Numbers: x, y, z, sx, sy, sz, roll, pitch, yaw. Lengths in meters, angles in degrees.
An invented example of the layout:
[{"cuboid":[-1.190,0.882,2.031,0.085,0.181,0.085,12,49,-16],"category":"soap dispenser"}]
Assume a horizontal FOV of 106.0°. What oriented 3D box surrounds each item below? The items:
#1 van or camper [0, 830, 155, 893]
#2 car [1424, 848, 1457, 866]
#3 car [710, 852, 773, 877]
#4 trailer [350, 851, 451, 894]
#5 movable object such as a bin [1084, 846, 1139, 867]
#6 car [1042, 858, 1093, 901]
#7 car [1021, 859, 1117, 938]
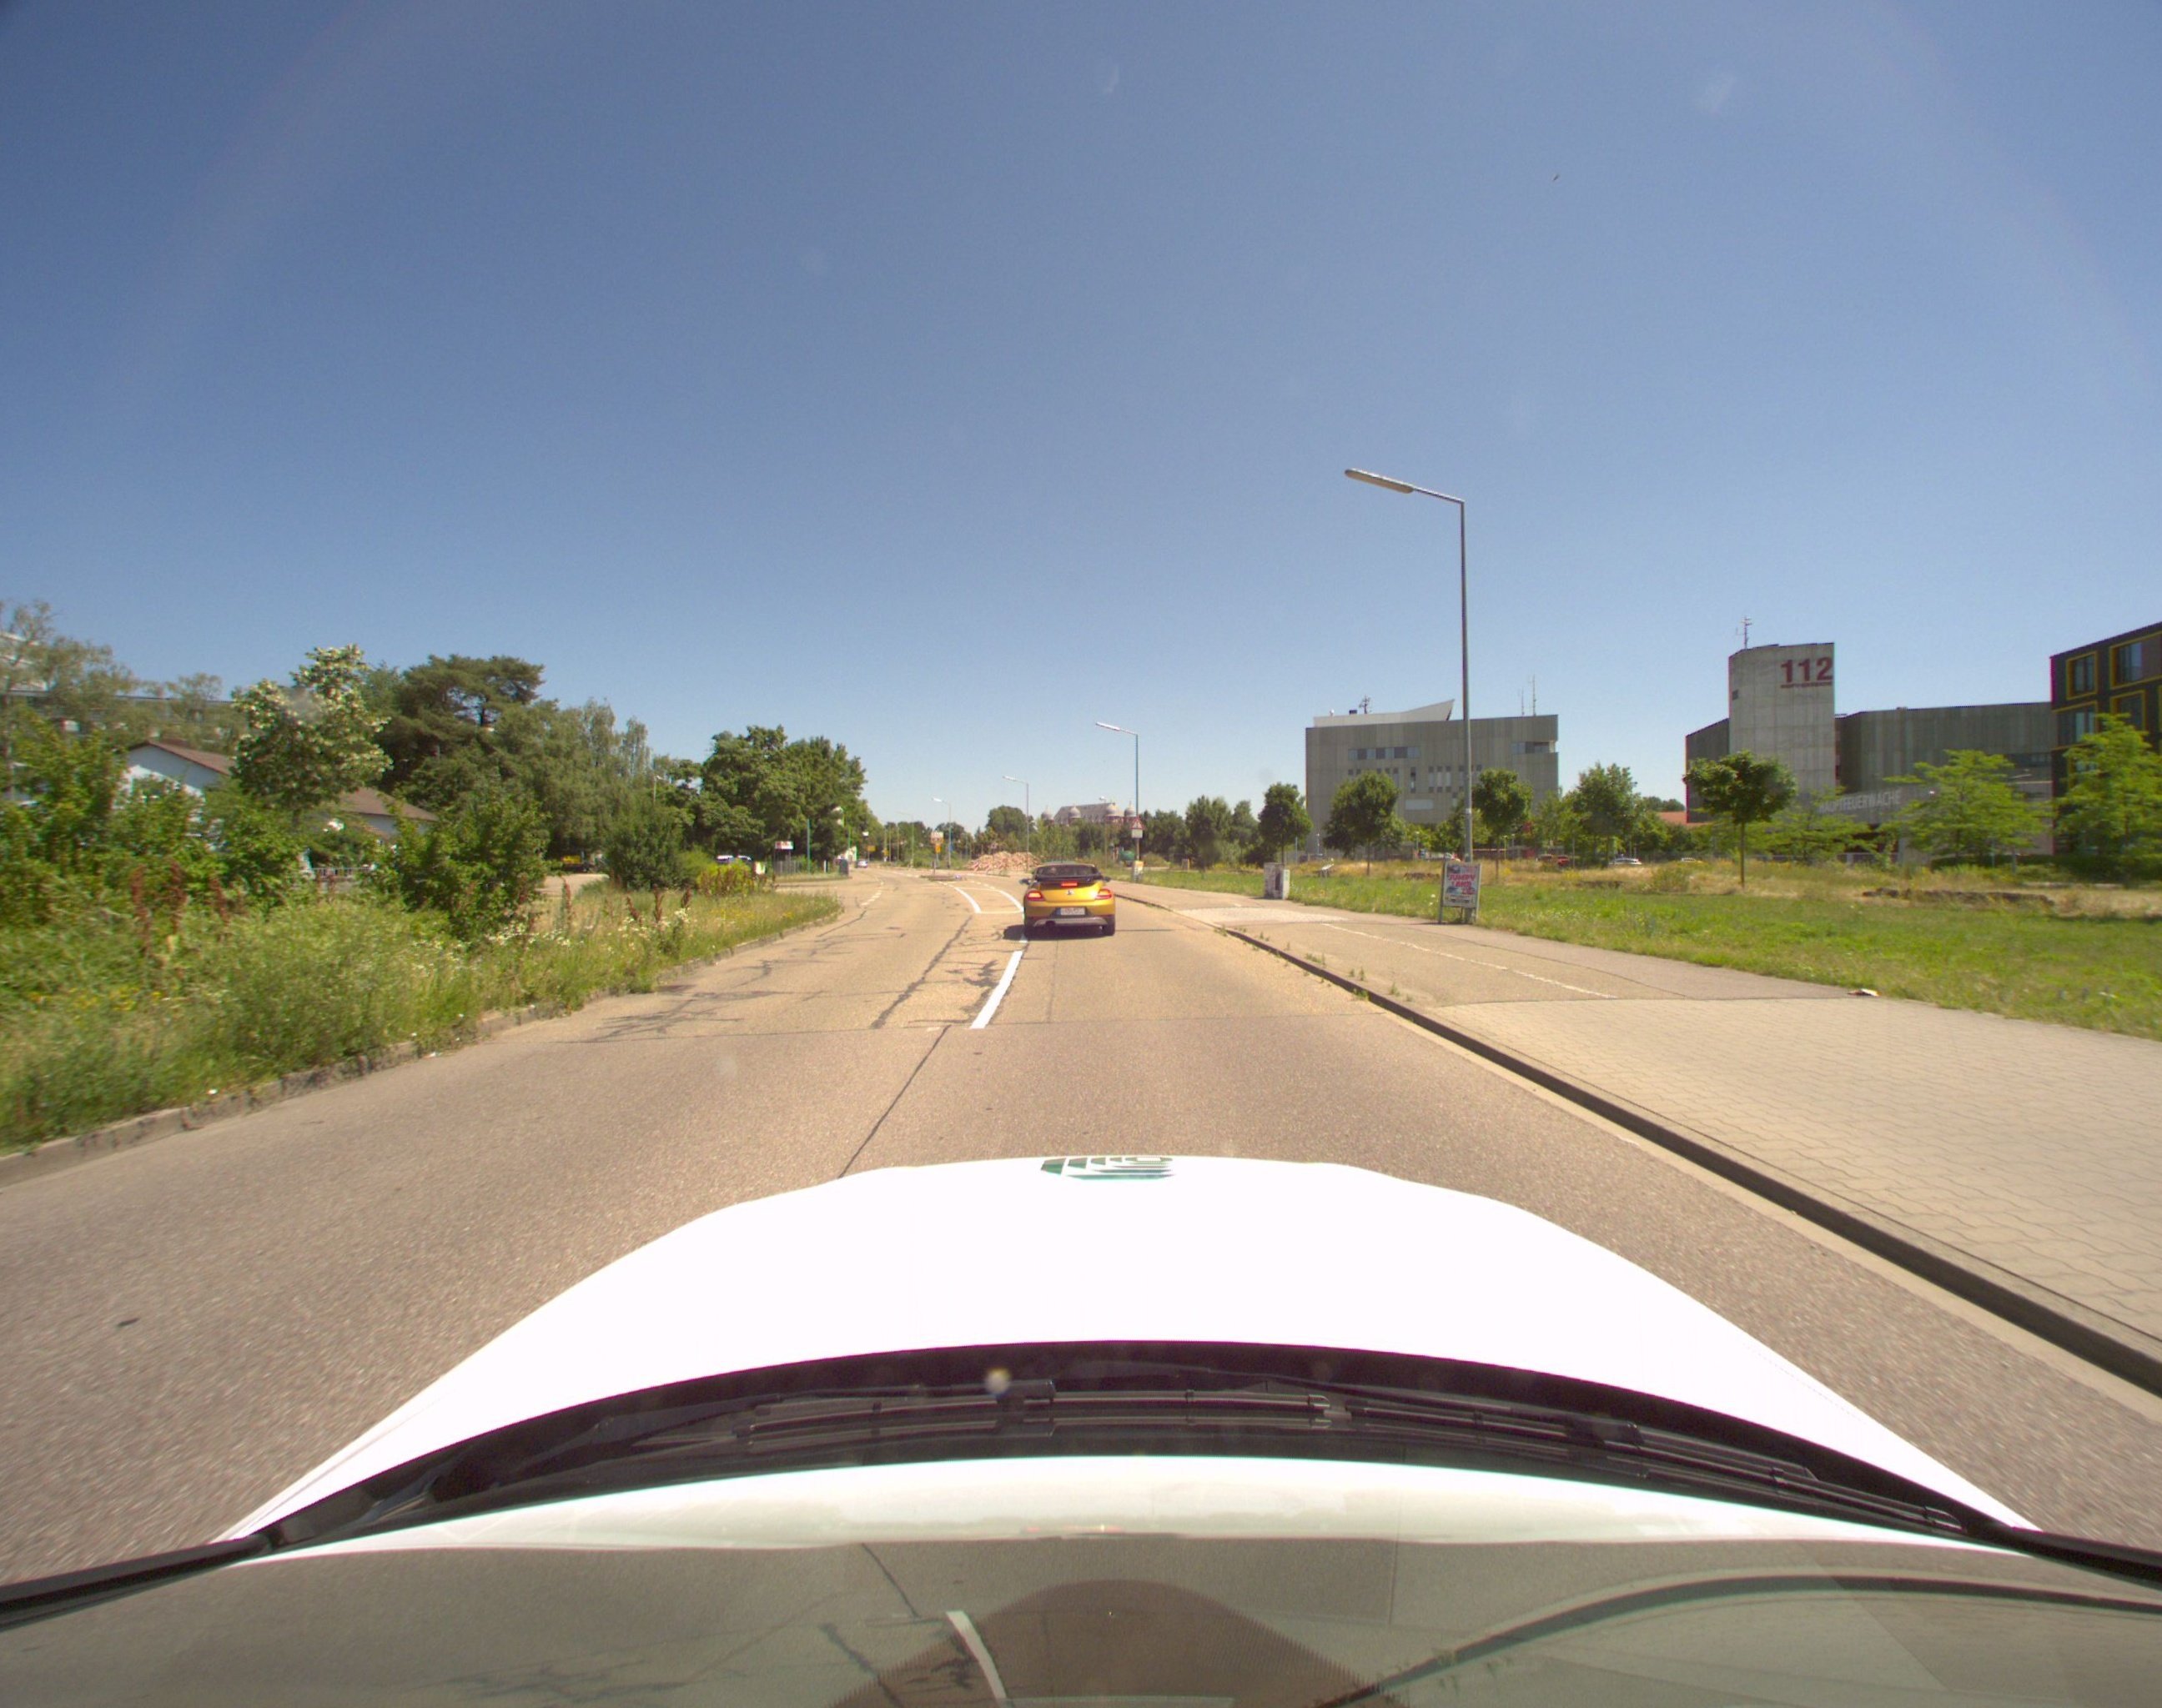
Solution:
[{"cuboid":[-44.638,0.346,35.775,4.466,2.591,2.476,2,-1,-20],"category":"van or camper"},{"cuboid":[47.115,0.381,106.842,3.809,2.294,1.751,-1,-1,21],"category":"car"},{"cuboid":[-26.774,0.821,64.378,4.309,1.977,1.775,0,-1,-12],"category":"car"},{"cuboid":[-33.846,0.900,40.606,3.425,2.045,1.749,0,-1,-20],"category":"trailer"},{"cuboid":[4.662,0.458,129.935,4.959,3.260,10.390,0,-1,-22],"category":"movable object such as a bin"},{"cuboid":[-0.525,0.878,29.668,1.722,1.443,3.996,0,0,-2],"category":"car"},{"cuboid":[-0.297,0.838,17.011,1.786,1.436,3.810,0,0,-2],"category":"car"}]
